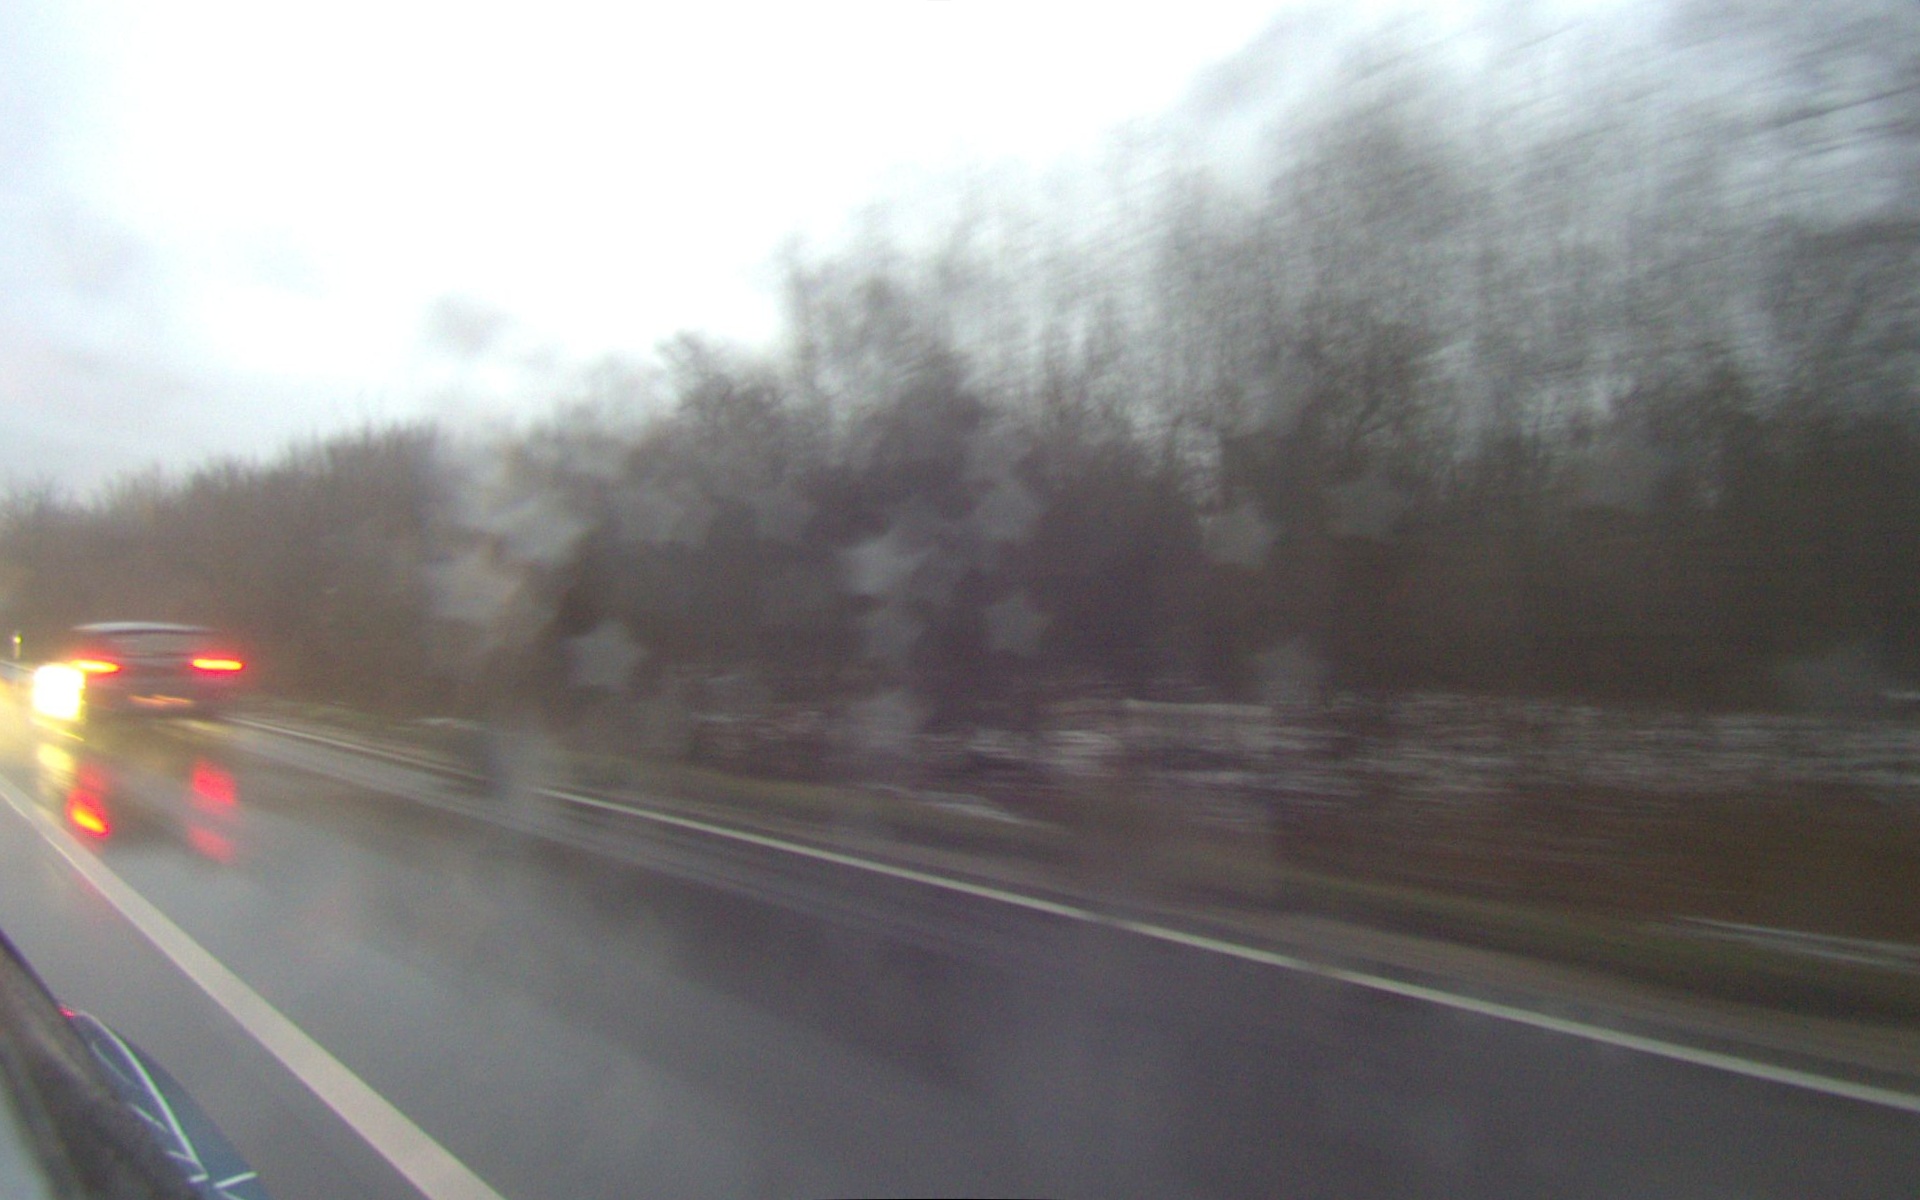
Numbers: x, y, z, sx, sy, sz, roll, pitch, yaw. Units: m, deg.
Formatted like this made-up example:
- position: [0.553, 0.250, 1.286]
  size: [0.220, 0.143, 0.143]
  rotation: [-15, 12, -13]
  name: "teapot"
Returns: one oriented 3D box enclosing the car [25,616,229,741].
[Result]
- position: [-11.645, 1.009, 14.064]
  size: [3.893, 1.507, 1.581]
  rotation: [-1, -3, 42]
  name: "car"
